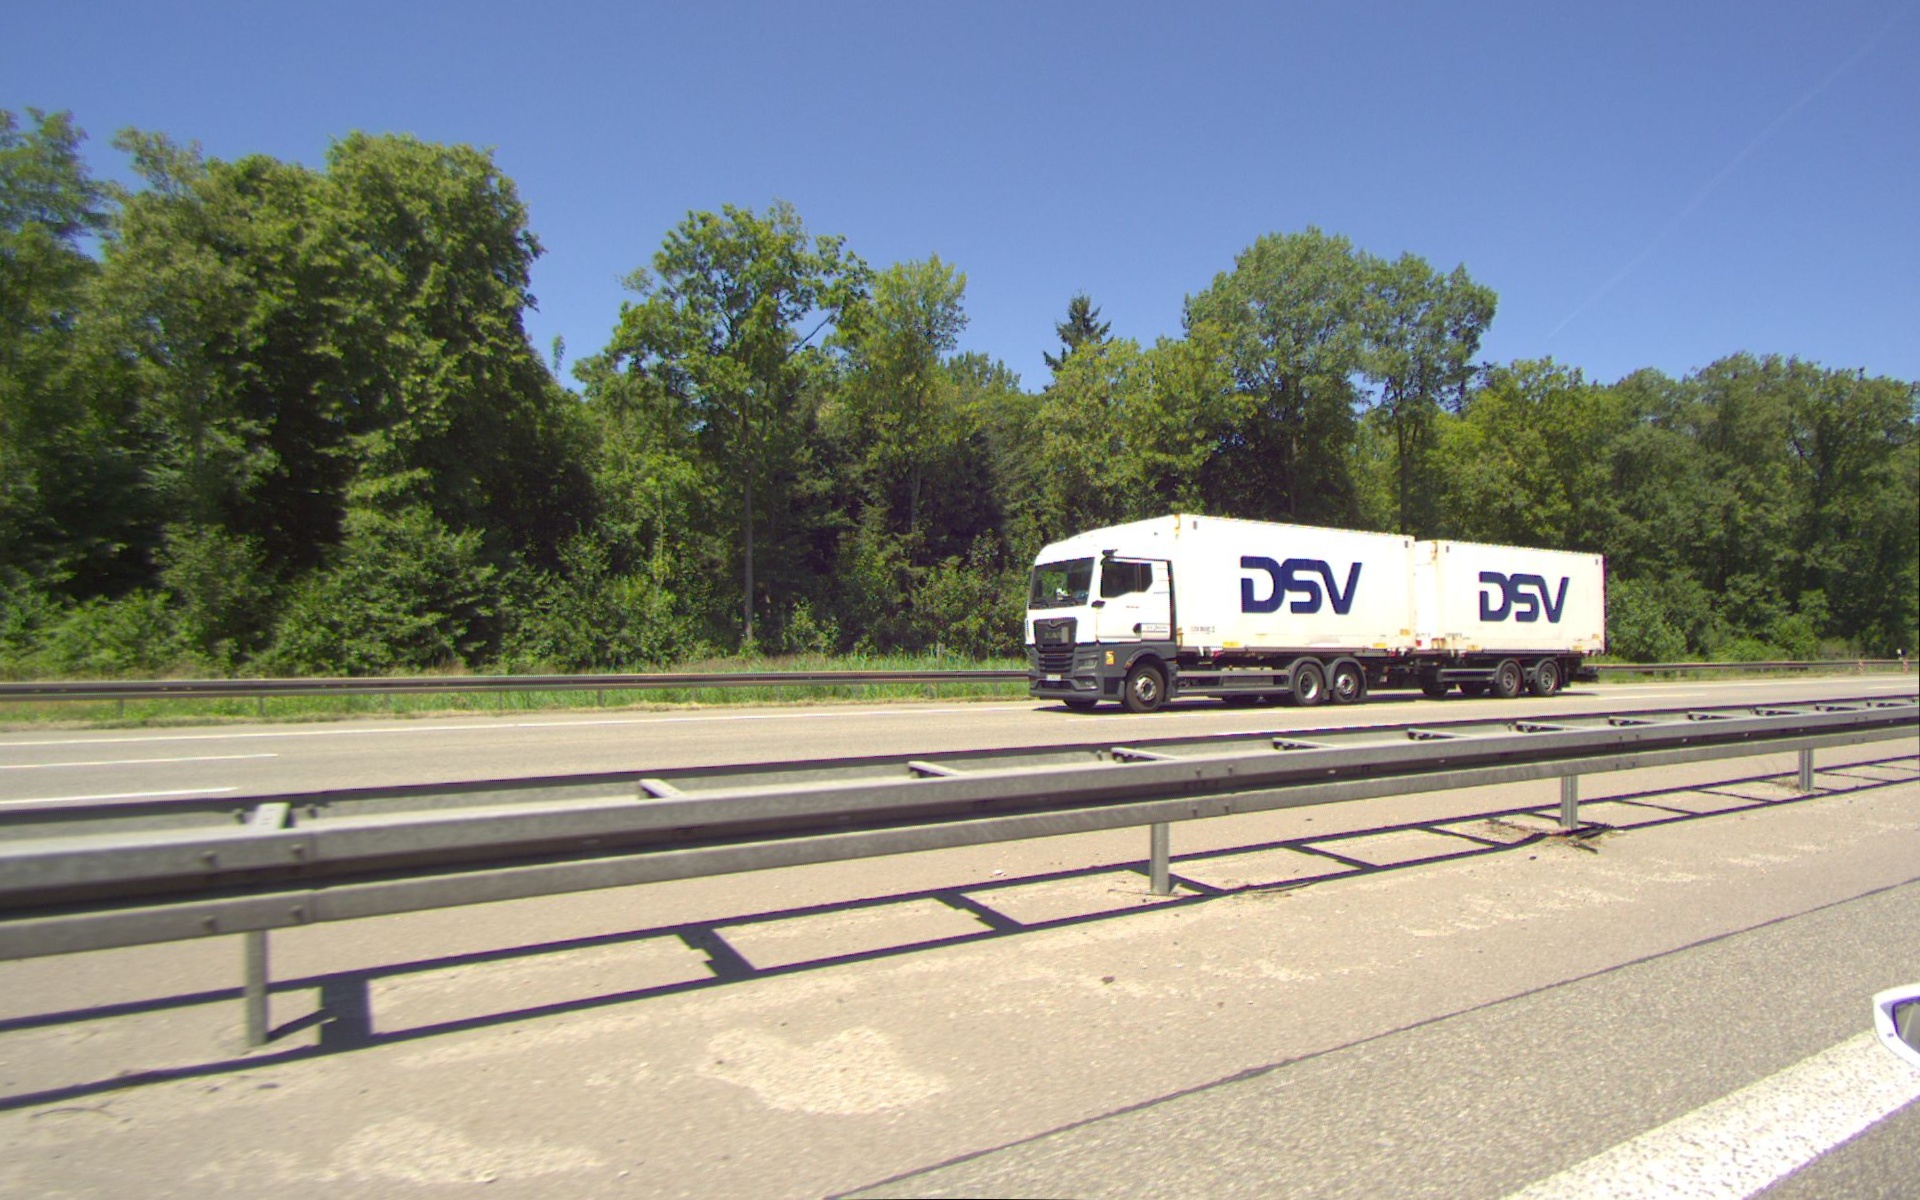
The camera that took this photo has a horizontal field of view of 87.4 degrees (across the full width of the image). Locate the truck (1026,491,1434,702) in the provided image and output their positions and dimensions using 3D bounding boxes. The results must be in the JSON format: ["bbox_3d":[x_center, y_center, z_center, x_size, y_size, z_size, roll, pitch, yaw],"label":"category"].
[{"bbox_3d":[6.512,0.082,23.085,10.219,4.061,2.568,2,0,-31],"label":"truck"}]

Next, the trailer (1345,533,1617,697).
[{"bbox_3d":[14.612,0.488,27.893,8.460,4.042,2.566,2,0,-31],"label":"trailer"}]
